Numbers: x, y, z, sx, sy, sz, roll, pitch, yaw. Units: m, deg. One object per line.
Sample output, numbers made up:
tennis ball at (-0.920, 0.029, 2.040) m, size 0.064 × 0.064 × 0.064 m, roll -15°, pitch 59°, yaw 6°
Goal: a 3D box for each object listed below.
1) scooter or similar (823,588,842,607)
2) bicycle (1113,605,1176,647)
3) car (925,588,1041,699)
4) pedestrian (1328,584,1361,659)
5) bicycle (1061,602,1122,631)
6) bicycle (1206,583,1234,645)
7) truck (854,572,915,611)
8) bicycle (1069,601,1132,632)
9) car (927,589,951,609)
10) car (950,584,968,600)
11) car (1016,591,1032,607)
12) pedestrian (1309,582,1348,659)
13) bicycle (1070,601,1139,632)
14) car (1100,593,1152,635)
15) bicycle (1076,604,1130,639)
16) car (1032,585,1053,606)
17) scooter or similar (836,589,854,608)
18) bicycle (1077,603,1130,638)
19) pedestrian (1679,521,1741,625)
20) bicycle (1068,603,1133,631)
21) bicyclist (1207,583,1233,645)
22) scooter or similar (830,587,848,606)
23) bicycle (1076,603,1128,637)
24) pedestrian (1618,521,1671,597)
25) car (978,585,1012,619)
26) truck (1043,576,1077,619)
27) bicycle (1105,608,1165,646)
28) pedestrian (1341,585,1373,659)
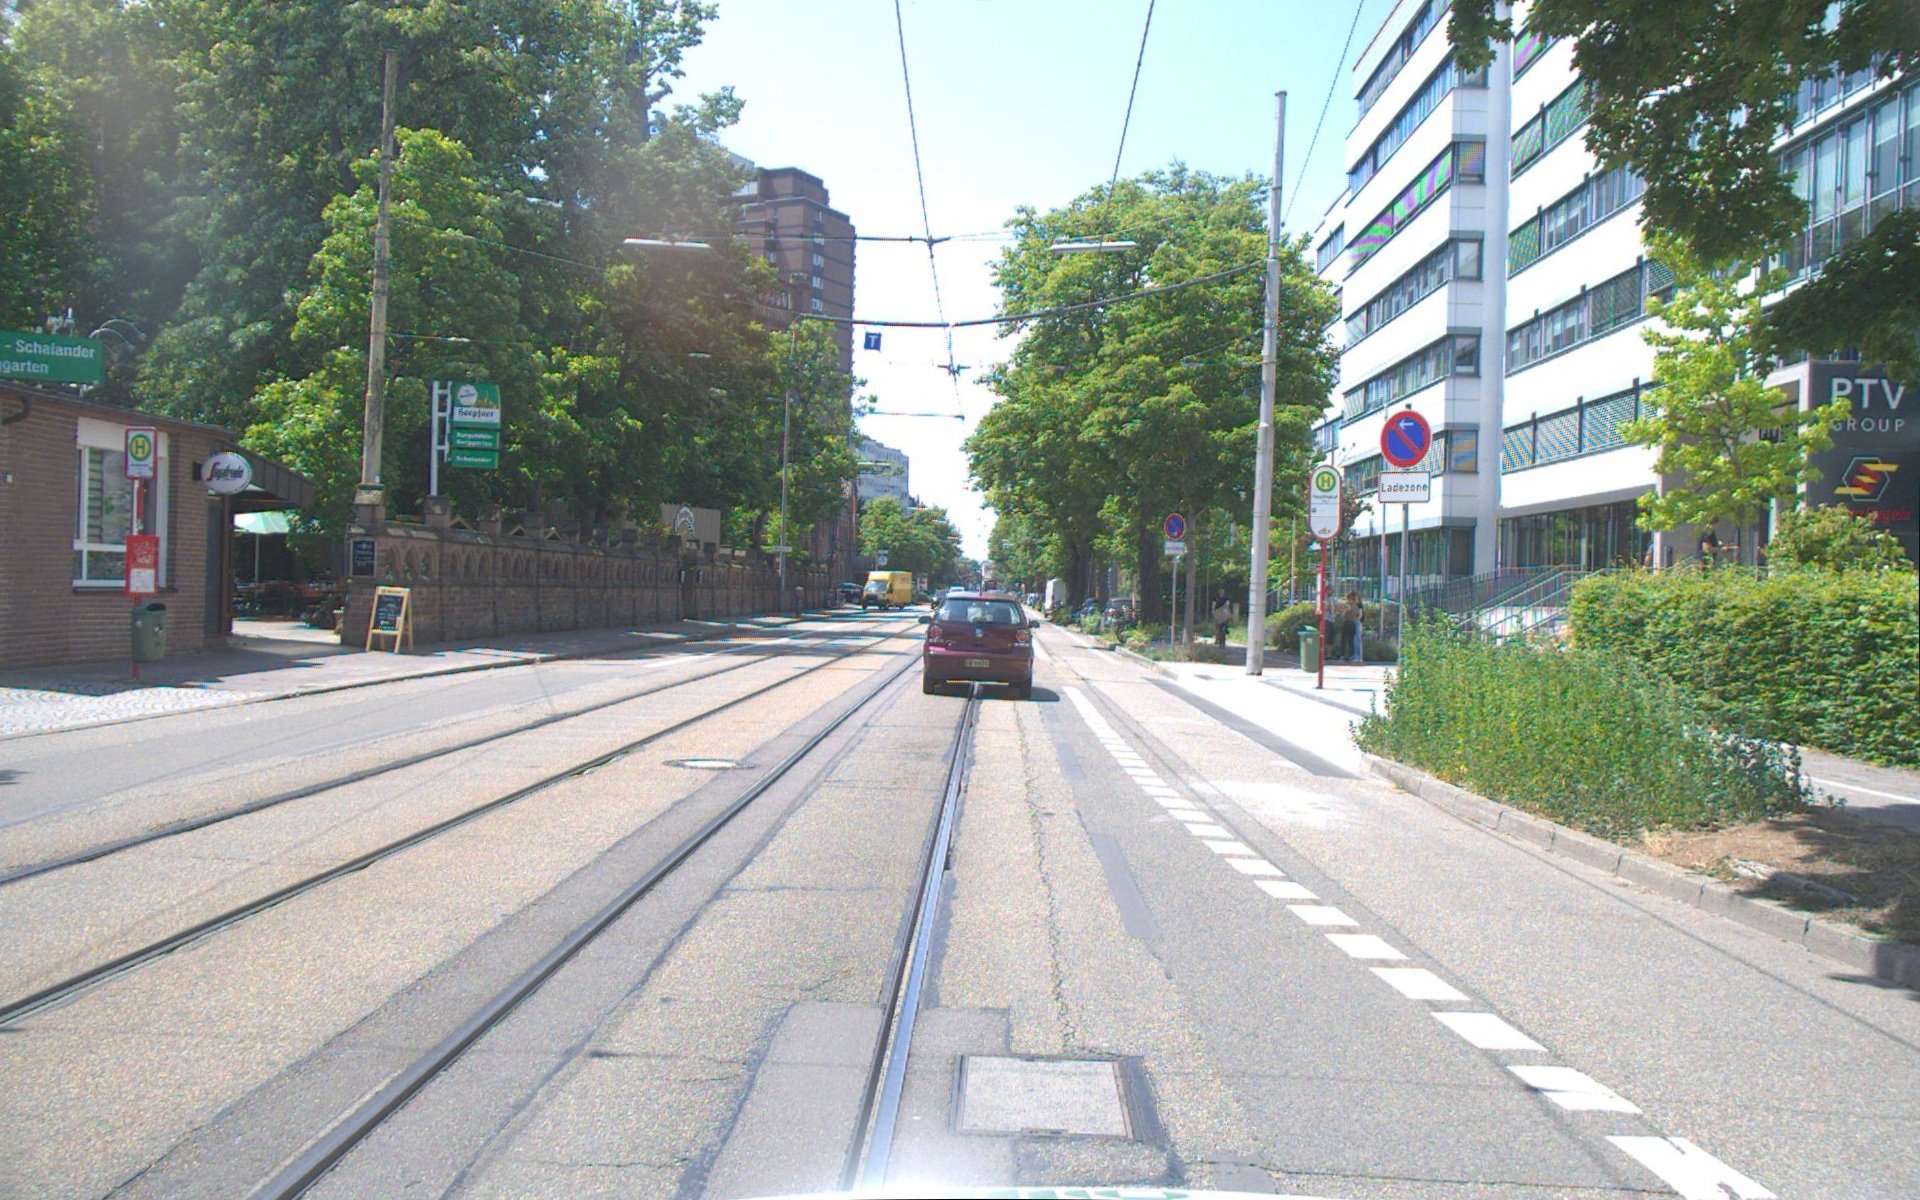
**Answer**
scooter or similar at (-8.172, -0.149, 106.036) m, size 1.072 × 1.175 × 0.524 m, roll 3°, pitch 0°, yaw -20°
bicycle at (5.569, 0.781, 49.981) m, size 1.844 × 1.203 × 0.694 m, roll 1°, pitch 0°, yaw 1°
car at (0.340, 0.592, 25.054) m, size 1.586 × 1.512 × 4.000 m, roll 2°, pitch 0°, yaw 1°
pedestrian at (9.082, 0.507, 39.064) m, size 0.531 × 1.745 × 0.560 m, roll 0°, pitch -1°, yaw -28°
bicycle at (6.703, 0.839, 84.516) m, size 3.007 × 1.336 × 0.782 m, roll 3°, pitch 0°, yaw -1°
bicycle at (7.700, 0.409, 49.002) m, size 0.675 × 1.817 × 1.811 m, roll 0°, pitch -1°, yaw 4°
truck at (-5.752, -0.602, 126.772) m, size 2.319 × 2.835 × 7.324 m, roll 2°, pitch 0°, yaw 16°
bicycle at (6.885, 0.806, 81.148) m, size 3.007 × 1.336 × 0.782 m, roll 3°, pitch 0°, yaw -1°
car at (-1.688, -0.079, 131.742) m, size 1.734 × 1.542 × 4.001 m, roll 2°, pitch 0°, yaw 1°
car at (-0.124, -0.962, 199.352) m, size 1.952 × 1.887 × 4.682 m, roll 2°, pitch 0°, yaw 1°
car at (7.115, -0.095, 184.198) m, size 1.640 × 1.685 × 4.001 m, roll 3°, pitch 1°, yaw 1°
pedestrian at (8.886, 0.487, 39.893) m, size 0.670 × 1.828 × 0.668 m, roll 0°, pitch 0°, yaw -30°
bicycle at (7.210, 0.826, 82.512) m, size 3.299 × 1.336 × 0.782 m, roll 3°, pitch 0°, yaw -1°
car at (6.214, 0.499, 62.147) m, size 1.654 × 1.529 × 3.628 m, roll 0°, pitch 0°, yaw 1°
bicycle at (4.738, 0.724, 54.953) m, size 1.715 × 1.104 × 0.548 m, roll 2°, pitch 0°, yaw 1°
car at (7.153, -0.417, 143.230) m, size 1.640 × 1.685 × 4.001 m, roll 3°, pitch 1°, yaw 1°
scooter or similar at (-7.661, -0.092, 110.022) m, size 1.072 × 1.175 × 0.524 m, roll 3°, pitch 0°, yaw -20°
bicycle at (4.846, 0.695, 55.991) m, size 1.715 × 1.104 × 0.548 m, roll 2°, pitch 0°, yaw 1°
pedestrian at (12.849, -0.444, 28.356) m, size 0.855 × 1.745 × 1.090 m, roll 0°, pitch -1°, yaw 19°
bicycle at (6.770, 0.801, 79.918) m, size 3.007 × 1.174 × 0.782 m, roll 3°, pitch 0°, yaw -1°
bicyclist at (7.708, 0.422, 49.057) m, size 0.682 × 1.831 × 0.888 m, roll 0°, pitch -1°, yaw 4°
scooter or similar at (-7.937, -0.206, 108.581) m, size 1.072 × 1.175 × 0.524 m, roll 3°, pitch 0°, yaw -20°
bicycle at (4.861, 0.673, 56.679) m, size 1.715 × 1.104 × 0.548 m, roll 2°, pitch 0°, yaw 1°
pedestrian at (16.330, -0.976, 39.467) m, size 0.860 × 1.745 × 0.808 m, roll 3°, pitch 0°, yaw 0°
car at (2.277, 0.123, 107.420) m, size 1.953 × 2.048 × 3.999 m, roll 3°, pitch 1°, yaw -1°
truck at (6.738, -0.193, 111.980) m, size 1.953 × 2.708 × 4.876 m, roll 3°, pitch 0°, yaw 1°
bicycle at (5.401, 0.831, 51.095) m, size 1.787 × 1.104 × 0.719 m, roll 1°, pitch -1°, yaw 4°
pedestrian at (9.455, 0.518, 39.395) m, size 0.531 × 1.745 × 0.560 m, roll 0°, pitch -1°, yaw -28°
